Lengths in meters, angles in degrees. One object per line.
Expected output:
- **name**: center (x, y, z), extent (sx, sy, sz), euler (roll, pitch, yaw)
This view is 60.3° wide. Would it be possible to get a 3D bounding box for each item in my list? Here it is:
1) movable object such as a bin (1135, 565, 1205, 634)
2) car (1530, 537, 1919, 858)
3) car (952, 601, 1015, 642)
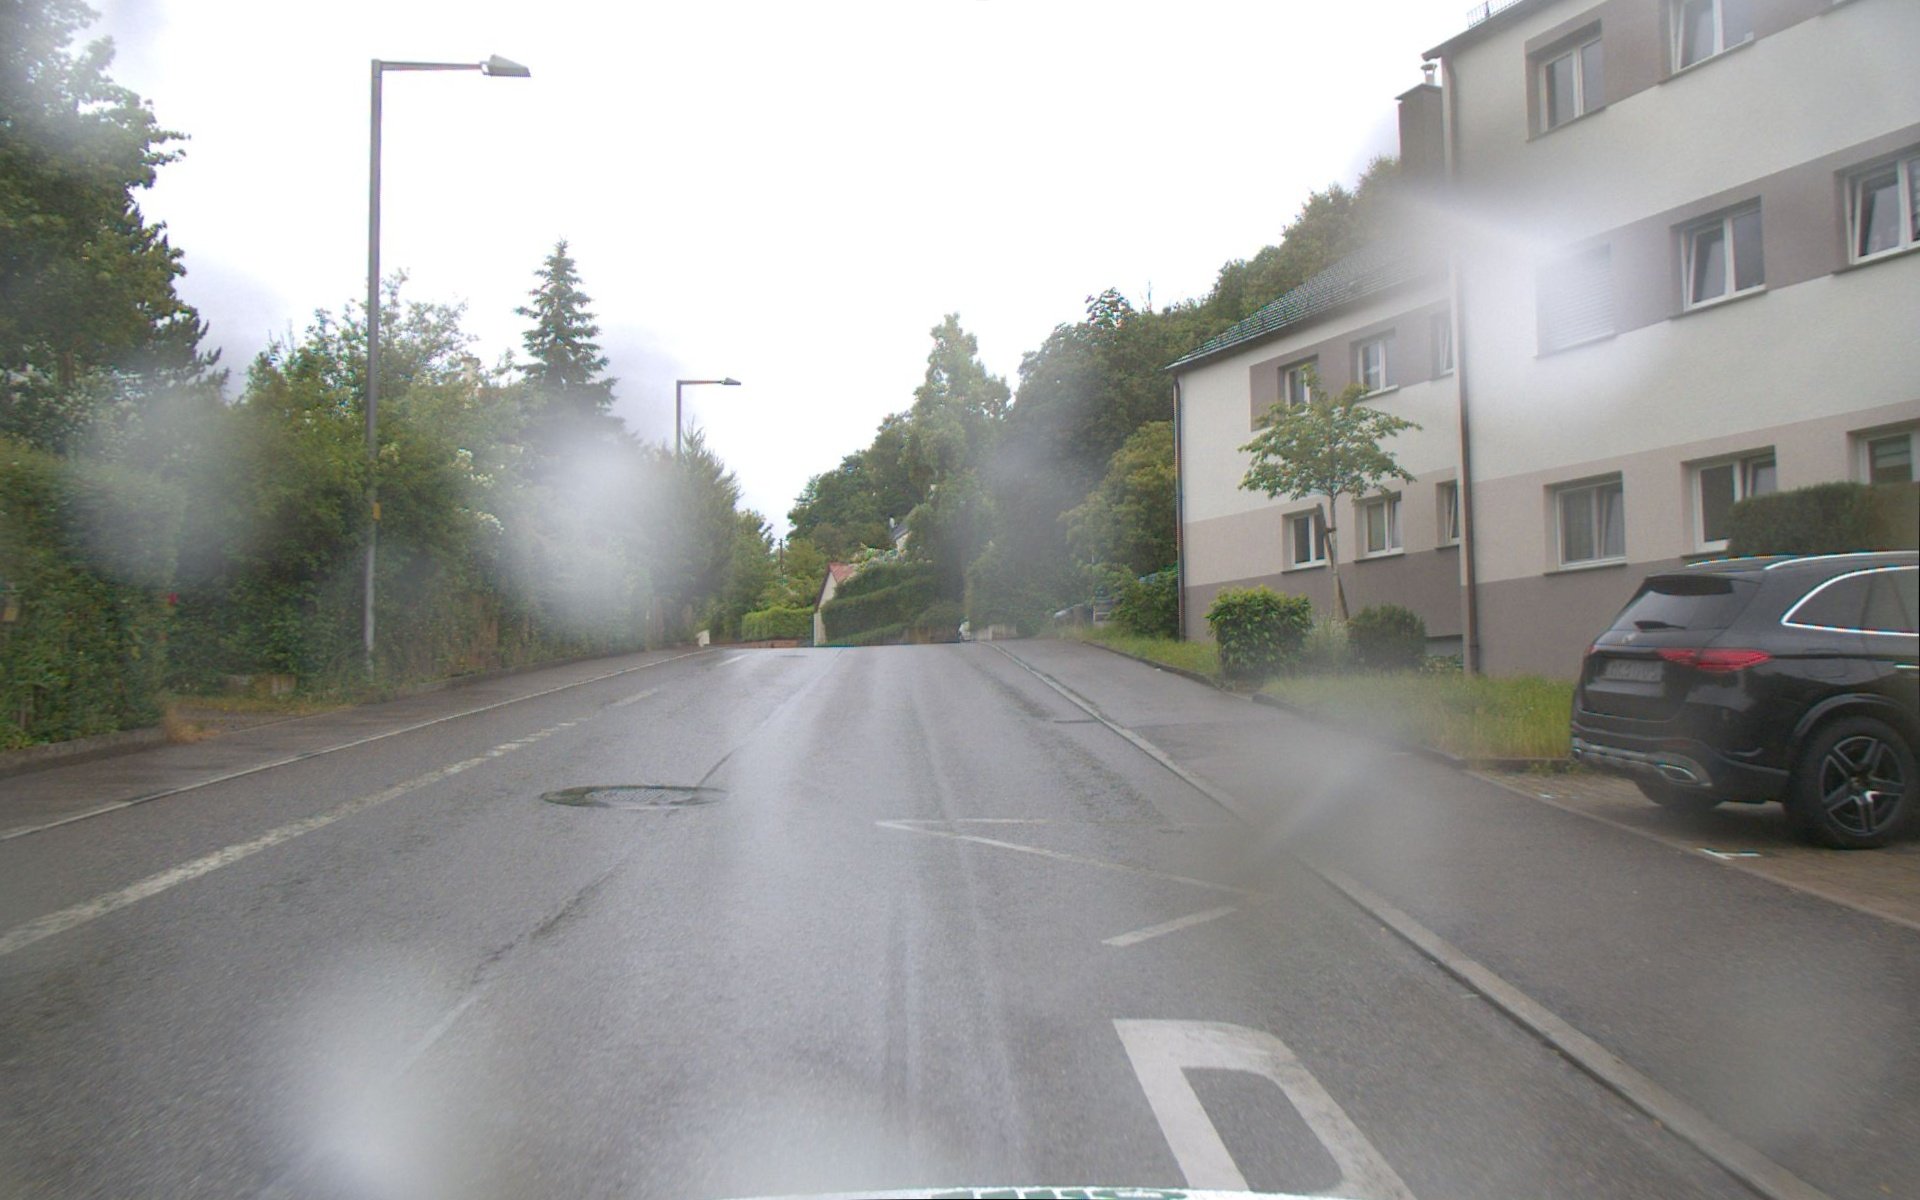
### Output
- **movable object such as a bin**: center (4.819, -0.004, 37.939), extent (1.231, 1.523, 0.970), euler (-2, 0, -36)
- **car**: center (6.035, 0.464, 10.138), extent (4.441, 1.689, 1.853), euler (-2, 1, -8)
- **car**: center (0.984, 0.942, 71.659), extent (1.508, 1.561, 3.826), euler (-5, 0, -17)
